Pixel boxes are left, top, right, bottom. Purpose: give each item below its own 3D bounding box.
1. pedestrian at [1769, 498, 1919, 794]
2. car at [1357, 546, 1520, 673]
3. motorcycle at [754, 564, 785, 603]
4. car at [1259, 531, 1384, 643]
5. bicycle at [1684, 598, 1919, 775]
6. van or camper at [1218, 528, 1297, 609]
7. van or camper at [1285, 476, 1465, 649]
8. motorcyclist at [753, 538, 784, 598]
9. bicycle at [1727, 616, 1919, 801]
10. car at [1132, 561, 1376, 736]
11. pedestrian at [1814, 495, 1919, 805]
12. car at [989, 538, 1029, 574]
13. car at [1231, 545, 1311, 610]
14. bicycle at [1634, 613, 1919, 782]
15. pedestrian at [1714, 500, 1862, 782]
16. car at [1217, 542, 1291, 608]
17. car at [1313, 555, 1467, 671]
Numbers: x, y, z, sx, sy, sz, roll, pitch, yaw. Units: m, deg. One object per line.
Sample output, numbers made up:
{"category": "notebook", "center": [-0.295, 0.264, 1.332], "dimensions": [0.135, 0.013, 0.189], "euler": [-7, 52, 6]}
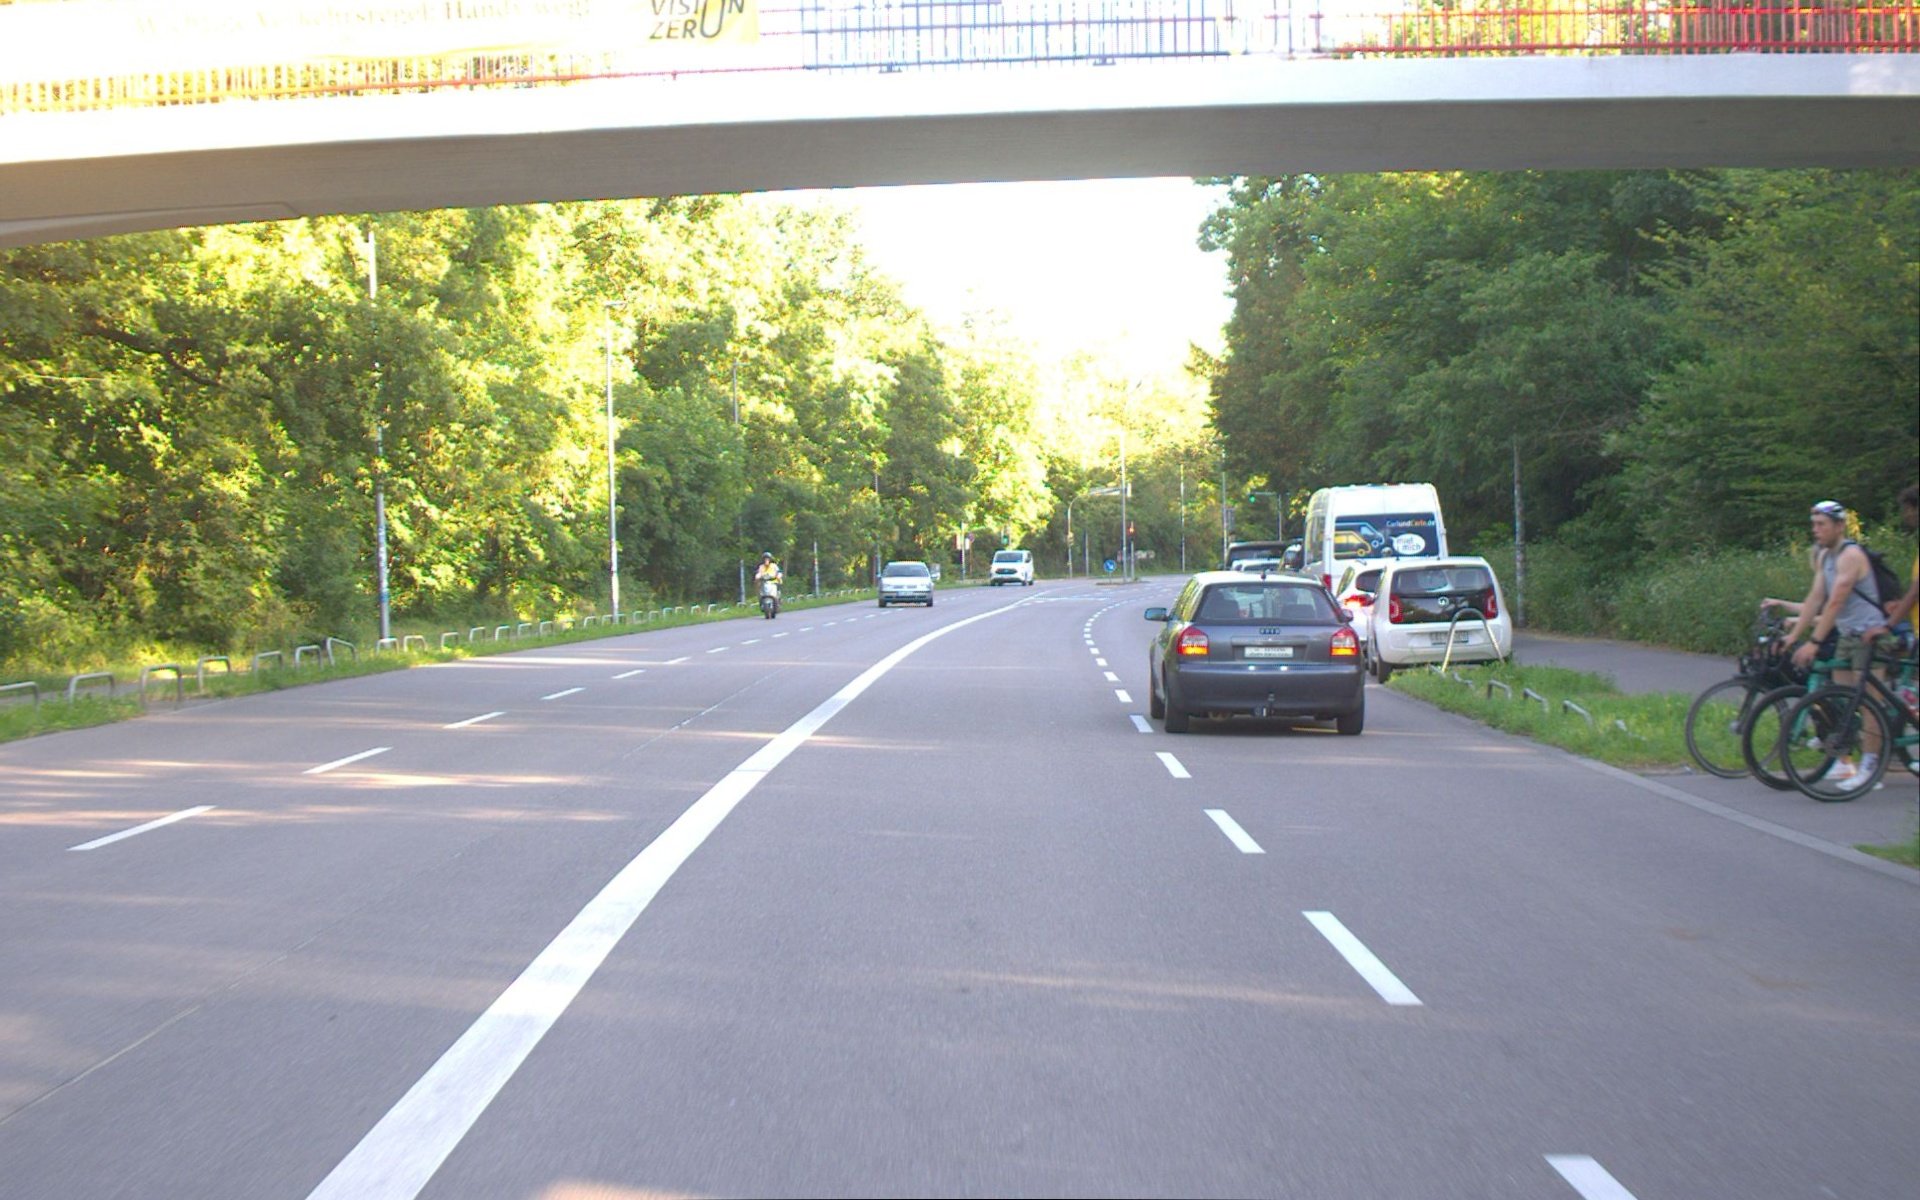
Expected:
{"category": "pedestrian", "center": [5.667, 0.279, 21.975], "dimensions": [0.699, 1.846, 0.939], "euler": [-1, 1, -4]}
{"category": "car", "center": [5.855, 0.082, 42.428], "dimensions": [1.723, 1.491, 3.774], "euler": [0, 1, 4]}
{"category": "motorcycle", "center": [-4.845, -0.426, 87.478], "dimensions": [0.636, 0.992, 2.077], "euler": [0, 1, 1]}
{"category": "car", "center": [6.345, -0.266, 60.813], "dimensions": [1.829, 1.861, 5.074], "euler": [-1, 1, 2]}
{"category": "bicycle", "center": [5.761, 0.537, 21.946], "dimensions": [2.061, 1.064, 0.870], "euler": [-1, 1, -3]}
{"category": "van or camper", "center": [7.736, -0.839, 89.880], "dimensions": [1.893, 1.942, 5.133], "euler": [-3, 1, 4]}
{"category": "van or camper", "center": [6.380, -0.604, 53.483], "dimensions": [2.119, 2.509, 5.980], "euler": [-1, 1, 1]}
{"category": "motorcyclist", "center": [-4.876, -0.813, 87.440], "dimensions": [0.724, 1.500, 0.672], "euler": [-1, 0, 1]}
{"category": "bicycle", "center": [5.826, 0.644, 20.991], "dimensions": [2.061, 1.064, 0.870], "euler": [-1, 1, -3]}
{"category": "car", "center": [2.541, 0.379, 30.552], "dimensions": [1.727, 1.436, 4.090], "euler": [0, 1, -1]}
{"category": "pedestrian", "center": [5.714, 0.290, 20.994], "dimensions": [0.699, 1.846, 0.939], "euler": [-1, 1, -4]}
{"category": "car", "center": [2.743, -2.460, 191.405], "dimensions": [1.994, 1.985, 4.997], "euler": [0, 1, 3]}
{"category": "car", "center": [7.098, -0.532, 78.781], "dimensions": [1.728, 1.436, 4.100], "euler": [-1, 1, 4]}
{"category": "bicycle", "center": [5.658, 0.643, 23.088], "dimensions": [2.061, 1.064, 0.870], "euler": [-1, 1, -3]}
{"category": "pedestrian", "center": [5.554, 0.264, 23.087], "dimensions": [0.699, 1.846, 0.939], "euler": [-1, 1, -4]}
{"category": "car", "center": [7.161, -0.632, 84.018], "dimensions": [1.728, 1.538, 4.217], "euler": [-1, 1, 4]}
{"category": "car", "center": [5.849, 0.144, 47.117], "dimensions": [1.723, 1.491, 4.145], "euler": [0, 1, 2]}
